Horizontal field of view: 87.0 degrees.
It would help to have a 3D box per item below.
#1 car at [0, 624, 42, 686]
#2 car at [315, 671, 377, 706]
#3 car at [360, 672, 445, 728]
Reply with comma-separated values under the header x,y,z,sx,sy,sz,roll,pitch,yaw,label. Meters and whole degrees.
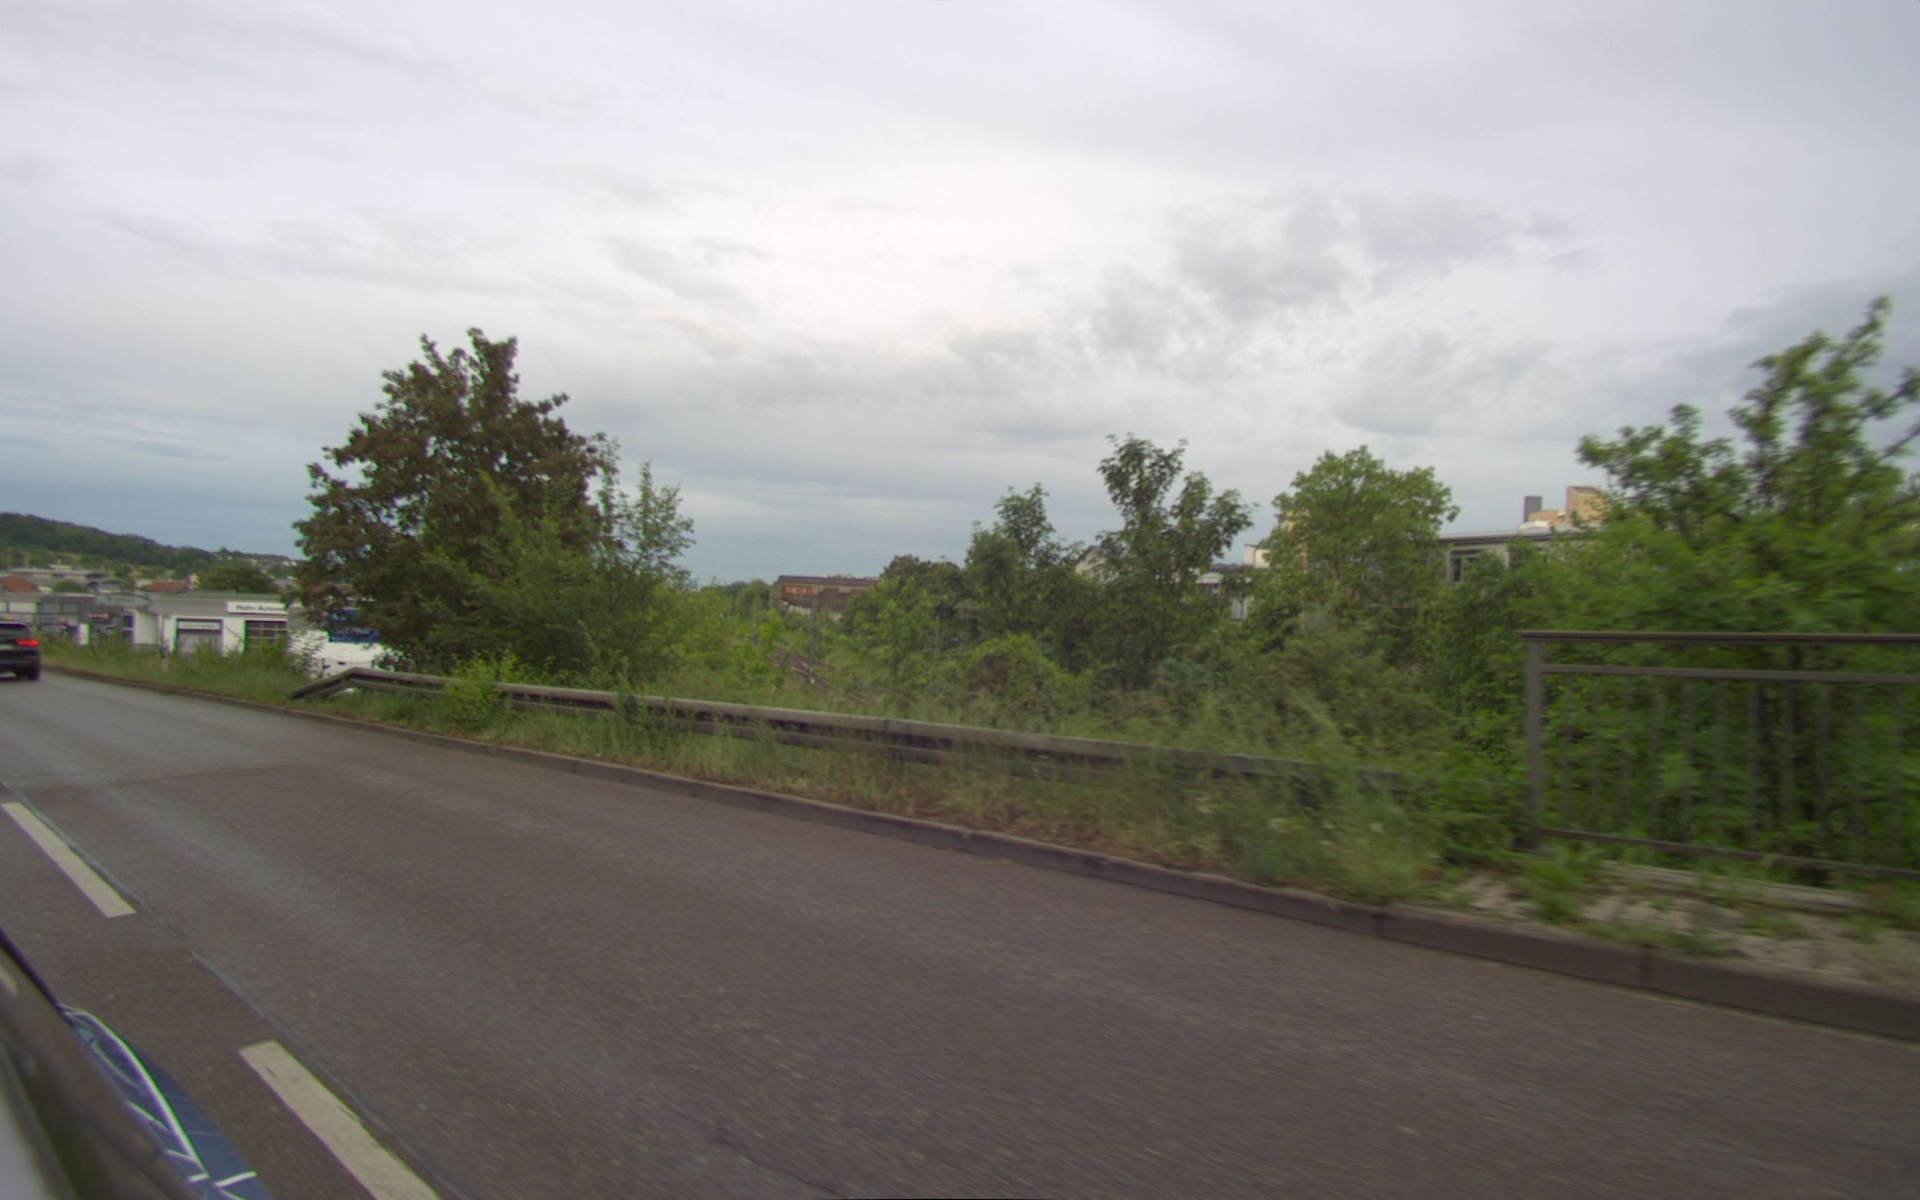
x,y,z,sx,sy,sz,roll,pitch,yaw,label
-26.142,1.445,27.166,4.078,1.597,1.712,-2,-2,41,car
-35.155,5.069,58.052,1.836,1.817,4.655,5,-6,-17,car
-19.640,3.469,35.551,1.957,1.704,4.939,7,-7,-34,car
